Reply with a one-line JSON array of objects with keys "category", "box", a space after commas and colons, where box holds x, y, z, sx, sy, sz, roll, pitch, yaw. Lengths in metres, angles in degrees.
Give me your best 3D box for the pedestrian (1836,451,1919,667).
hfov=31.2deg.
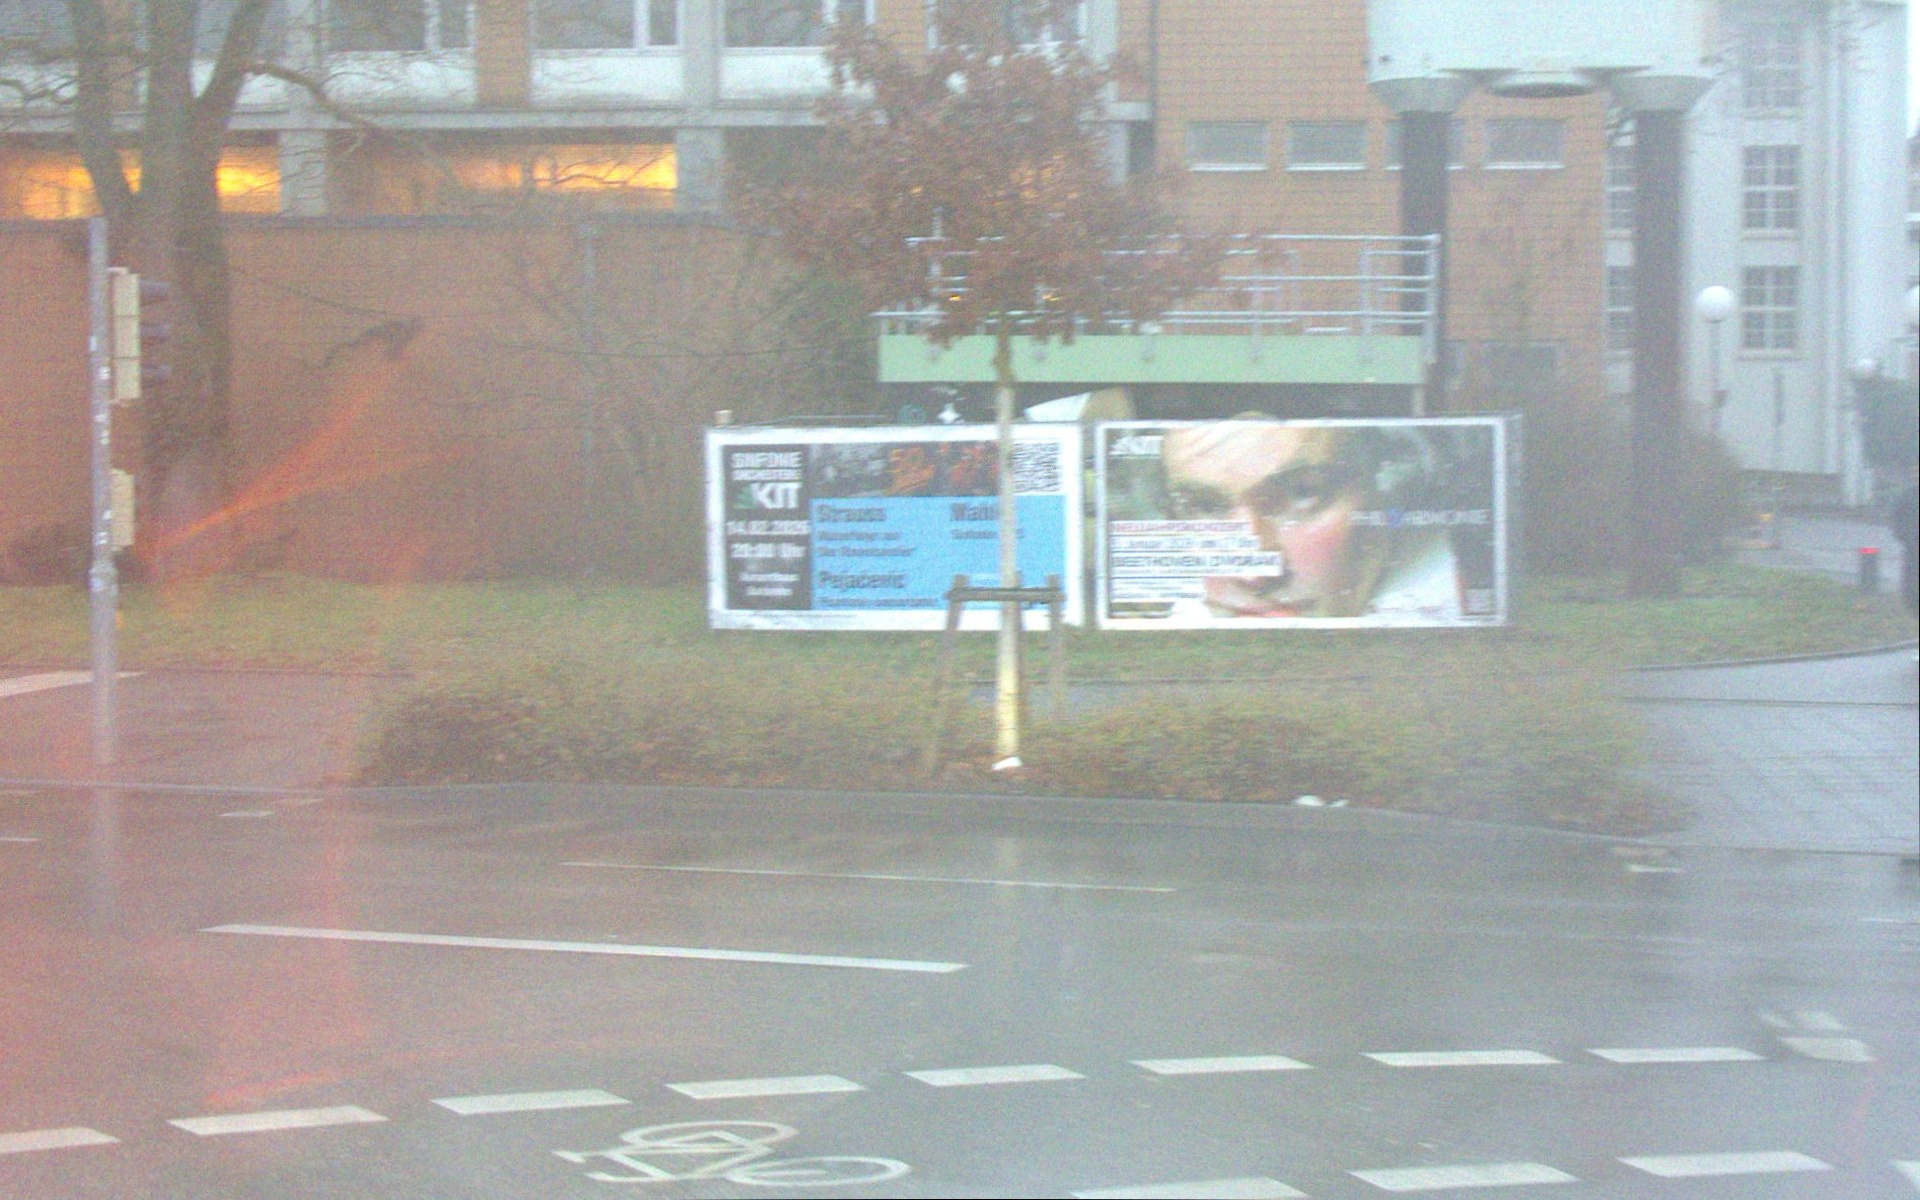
[{"category": "pedestrian", "box": [7.801, -0.345, 27.899, 0.924, 1.681, 0.913, 0, 4, -19]}]
